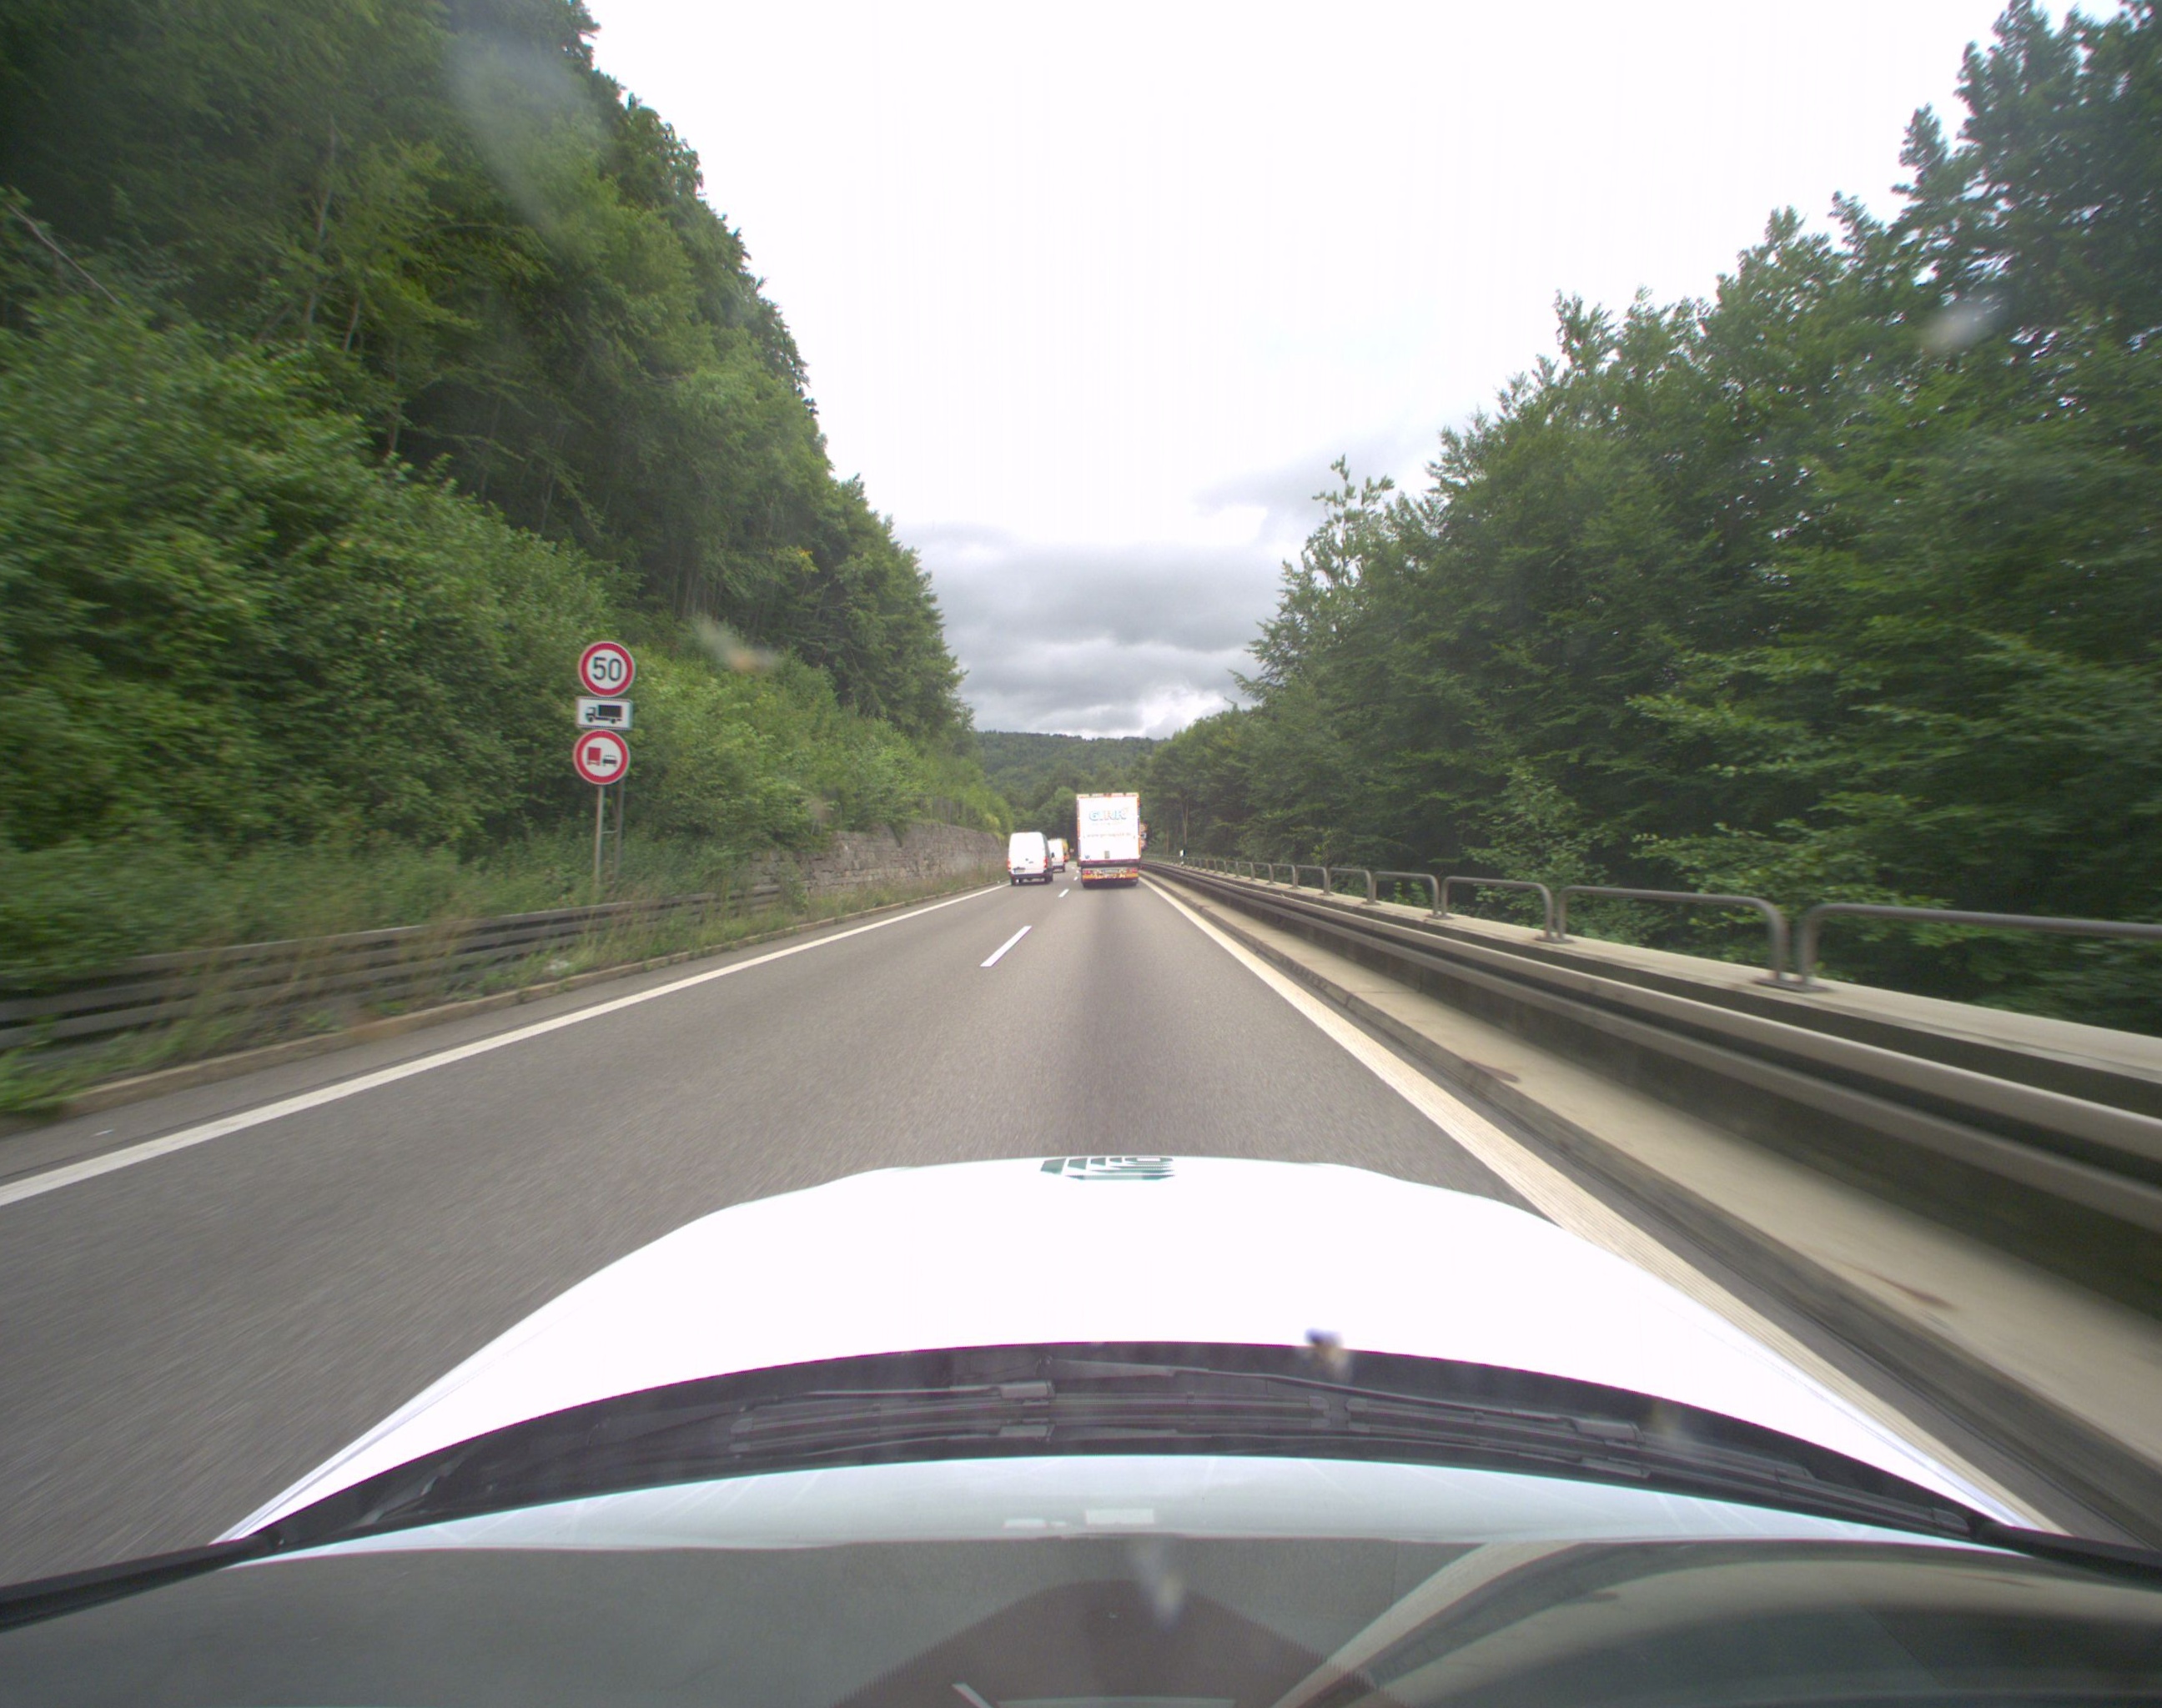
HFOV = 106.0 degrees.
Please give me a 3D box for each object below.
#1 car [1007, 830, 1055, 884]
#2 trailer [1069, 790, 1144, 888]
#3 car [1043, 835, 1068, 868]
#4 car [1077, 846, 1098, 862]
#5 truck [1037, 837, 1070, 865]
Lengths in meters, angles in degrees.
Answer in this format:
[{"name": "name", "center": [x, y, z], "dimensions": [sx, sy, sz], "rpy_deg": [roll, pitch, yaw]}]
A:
[{"name": "car", "center": [-2.594, 0.138, 44.054], "dimensions": [1.982, 2.672, 6.938], "rpy_deg": [-1, 0, 1]}, {"name": "trailer", "center": [1.179, -0.761, 39.071], "dimensions": [3.046, 3.985, 12.141], "rpy_deg": [0, 1, 1]}, {"name": "car", "center": [-2.161, -0.188, 69.260], "dimensions": [1.934, 2.672, 5.987], "rpy_deg": [-1, 0, -2]}, {"name": "car", "center": [0.687, -0.017, 89.526], "dimensions": [1.990, 1.662, 3.995], "rpy_deg": [-1, 0, -4]}, {"name": "truck", "center": [-4.542, -0.535, 128.744], "dimensions": [3.058, 3.985, 13.650], "rpy_deg": [-4, 1, -10]}]
